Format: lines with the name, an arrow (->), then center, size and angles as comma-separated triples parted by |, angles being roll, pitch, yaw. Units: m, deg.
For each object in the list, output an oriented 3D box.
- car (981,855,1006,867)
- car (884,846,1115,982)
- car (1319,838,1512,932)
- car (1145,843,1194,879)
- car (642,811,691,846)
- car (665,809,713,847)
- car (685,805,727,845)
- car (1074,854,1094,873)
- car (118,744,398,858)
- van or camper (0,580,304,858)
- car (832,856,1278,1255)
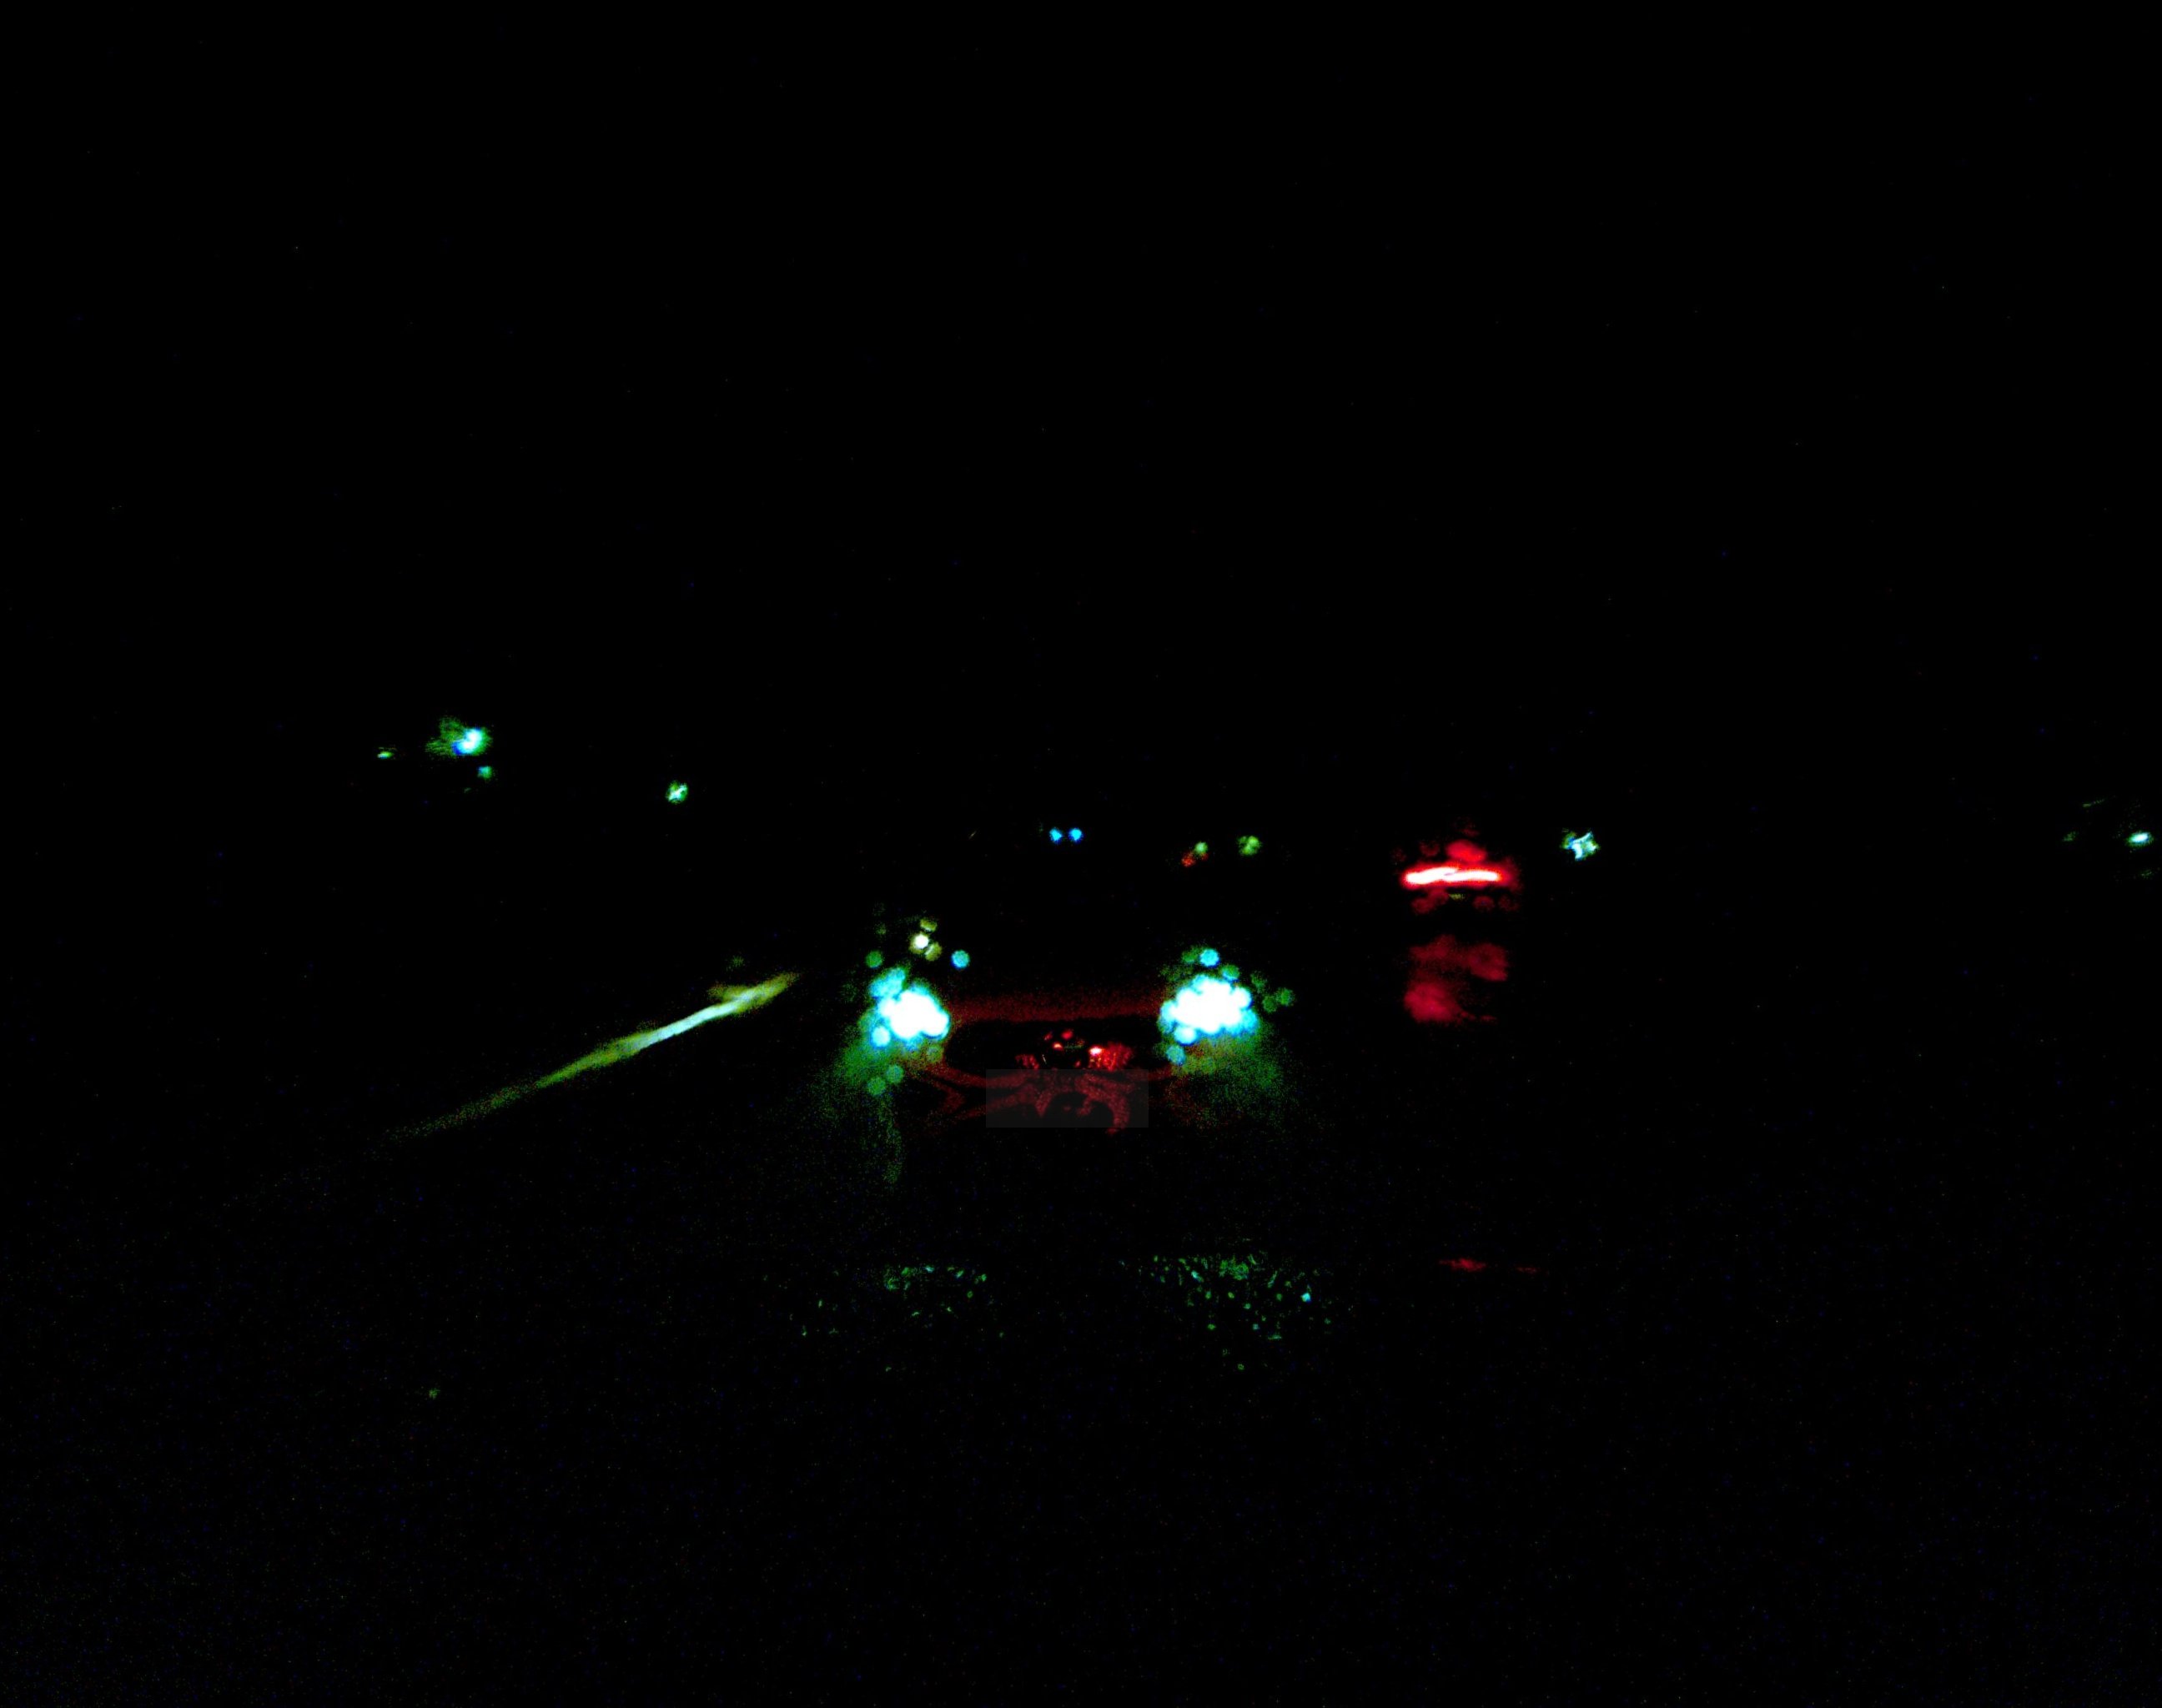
car -> -15.955, 1.237, 138.543 | 3.991, 2.002, 2.002 | -2, 1, 20
car -> -1.035, 0.792, 12.613 | 1.837, 1.725, 4.947 | -2, 1, 19
car -> 6.378, 0.567, 15.146 | 1.892, 1.559, 4.486 | -2, -1, 1
car -> 5.270, 0.411, 45.809 | 2.091, 2.002, 4.712 | -2, 0, -4
car -> -25.049, -1.507, 46.052 | 1.735, 2.002, 3.696 | -3, 1, -16
car -> -26.366, -1.718, 51.278 | 1.937, 2.406, 4.249 | -3, 1, -16
car -> -27.843, -2.113, 56.481 | 1.937, 2.759, 4.249 | -3, 1, -16
car -> 0.306, 1.084, 86.931 | 1.999, 2.002, 3.998 | -2, 1, -3
car -> -16.410, -0.973, 15.522 | 2.001, 2.002, 3.994 | -3, 1, -16
van or camper -> -12.768, -1.393, 9.044 | 2.417, 2.777, 5.763 | -3, 1, -18
car -> -0.079, 0.866, 5.397 | 1.826, 1.573, 4.354 | -2, 1, 1
